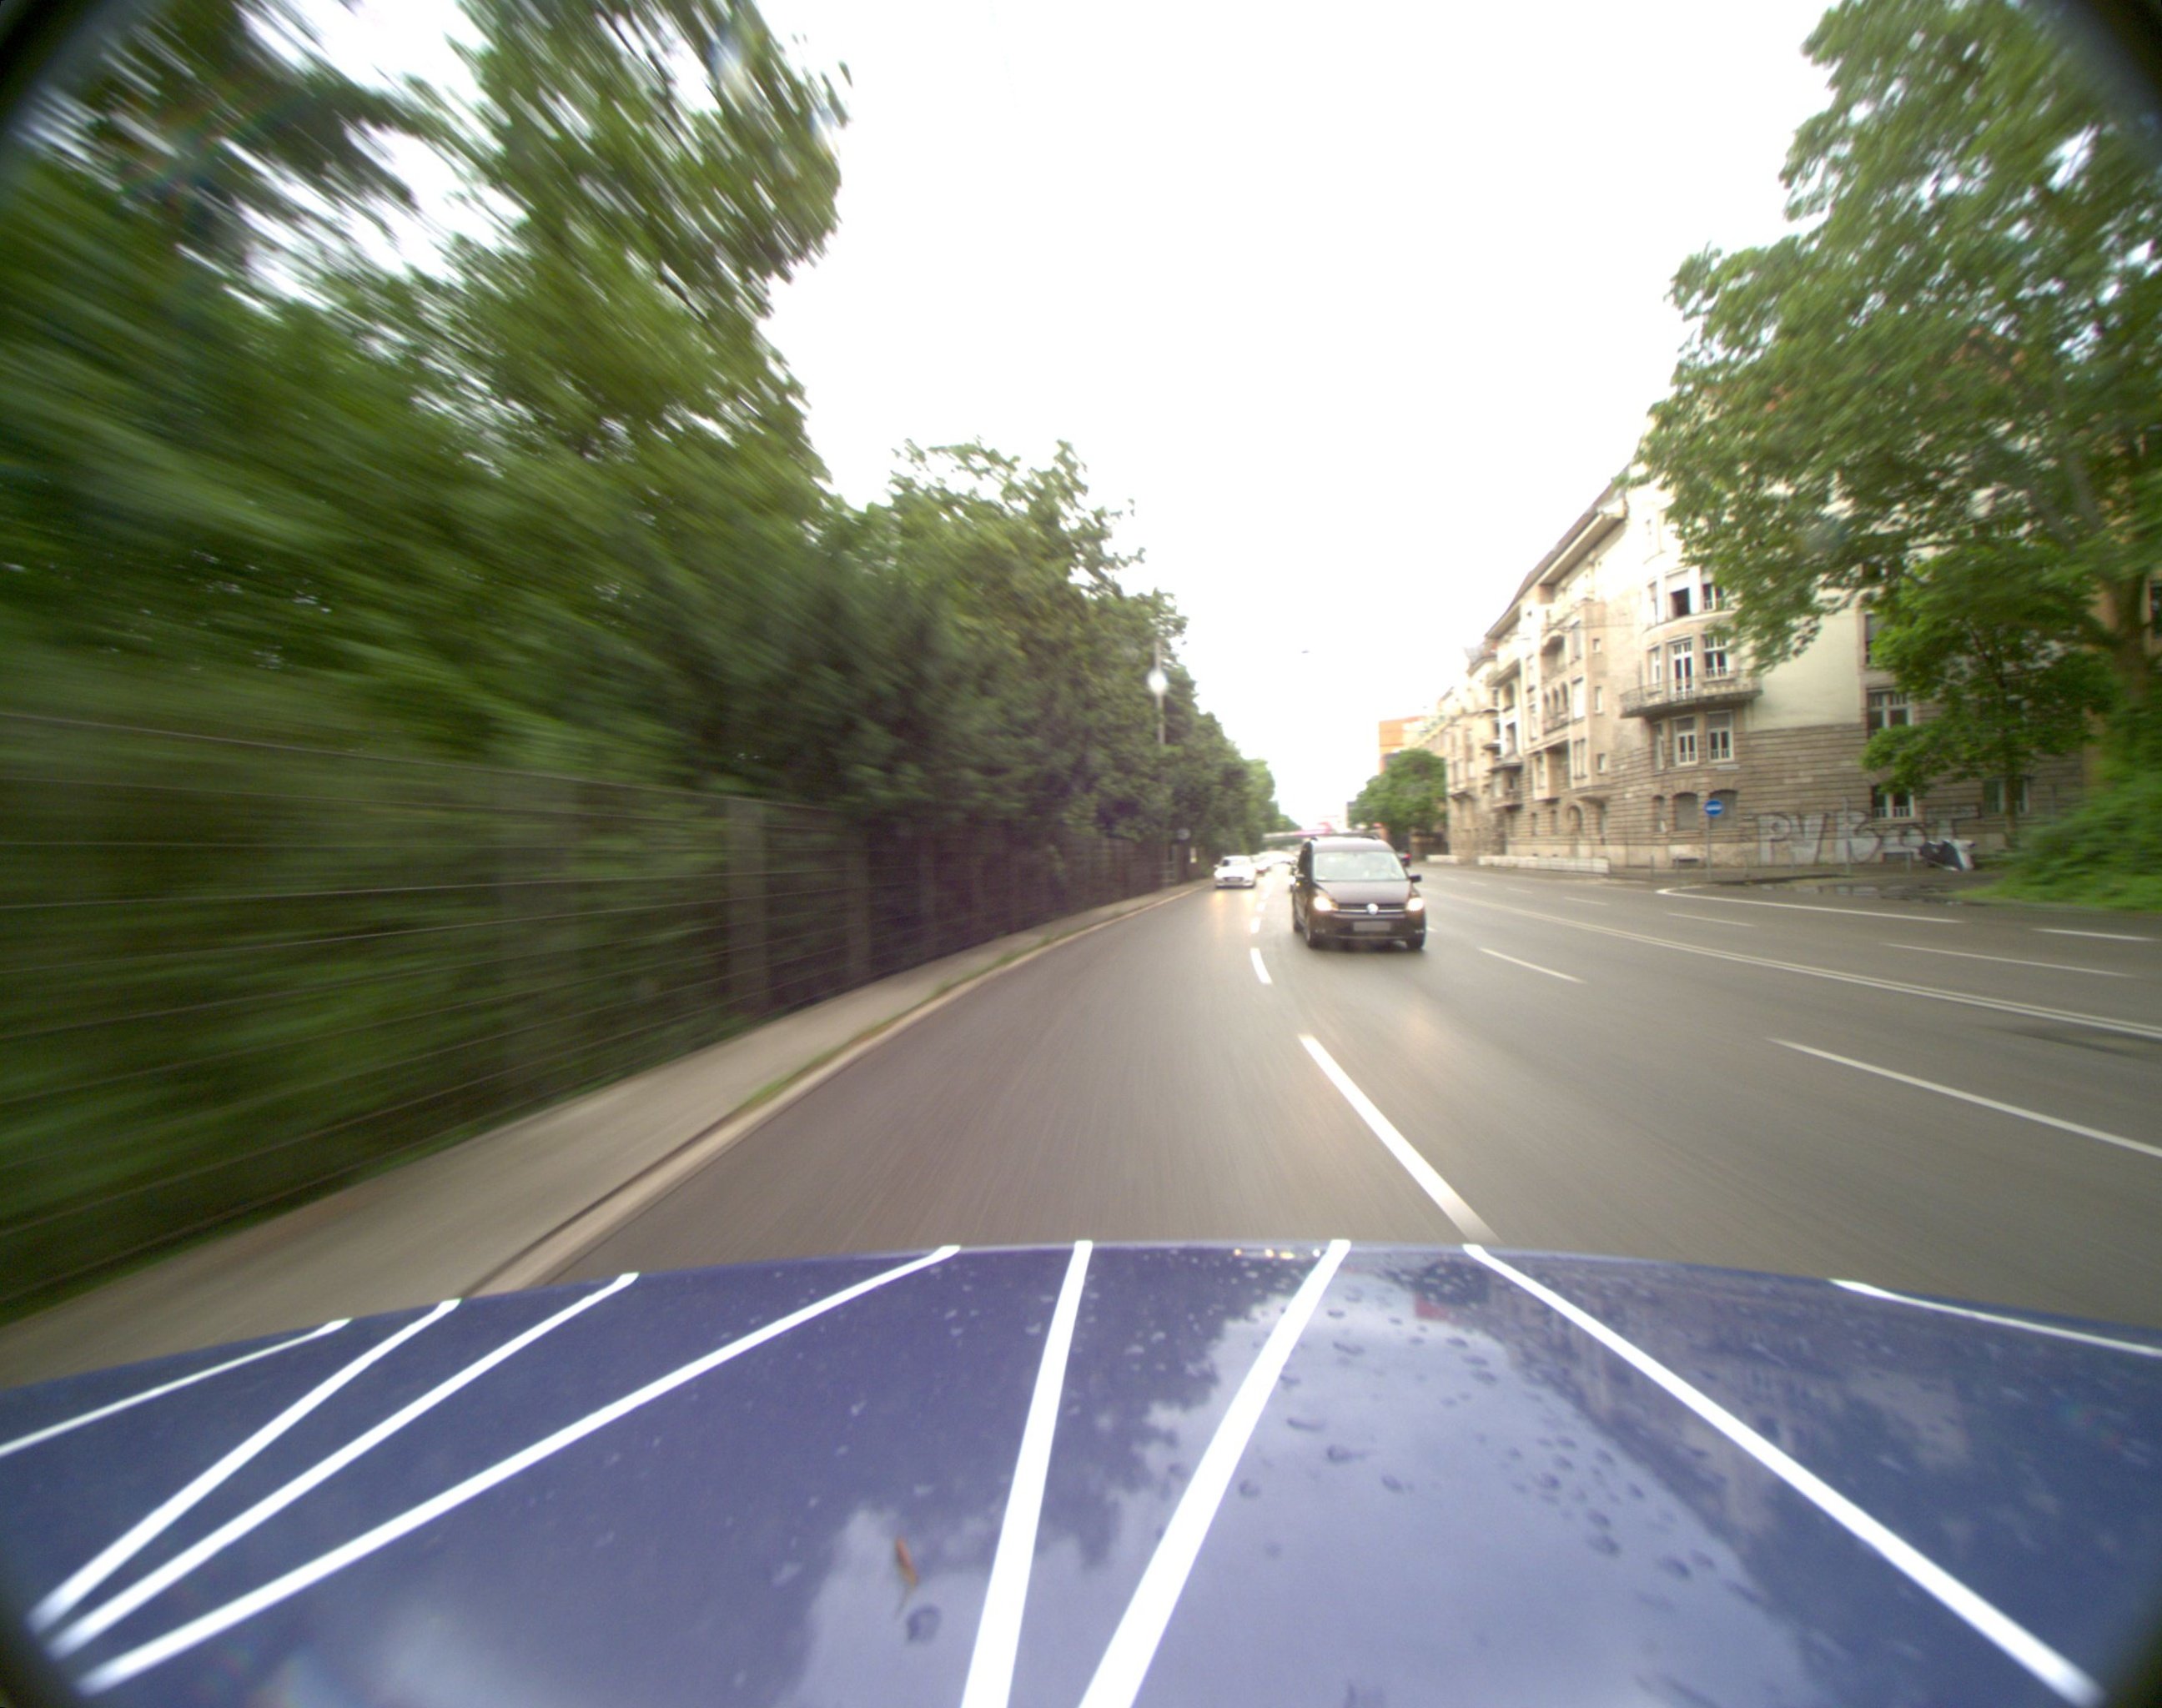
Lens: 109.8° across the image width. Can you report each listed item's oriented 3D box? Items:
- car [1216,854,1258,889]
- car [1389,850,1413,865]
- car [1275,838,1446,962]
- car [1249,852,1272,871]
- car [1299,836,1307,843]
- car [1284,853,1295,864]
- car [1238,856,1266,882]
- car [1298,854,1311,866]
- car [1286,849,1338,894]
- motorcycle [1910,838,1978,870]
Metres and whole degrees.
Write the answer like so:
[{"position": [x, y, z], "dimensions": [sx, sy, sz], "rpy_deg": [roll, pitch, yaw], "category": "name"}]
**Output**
[{"position": [7.384, 0.802, 35.812], "dimensions": [1.729, 1.430, 4.004], "rpy_deg": [-3, 0, 14], "category": "car"}, {"position": [29.101, 0.287, 69.166], "dimensions": [1.703, 1.331, 3.921], "rpy_deg": [-2, 0, 20], "category": "car"}, {"position": [4.577, 0.695, 13.073], "dimensions": [1.841, 1.780, 4.002], "rpy_deg": [-1, 0, 7], "category": "car"}, {"position": [17.180, 0.708, 72.570], "dimensions": [1.799, 1.586, 4.004], "rpy_deg": [-4, 0, 17], "category": "car"}, {"position": [53.681, -3.509, 183.720], "dimensions": [1.822, 1.602, 4.004], "rpy_deg": [-4, 0, 17], "category": "car"}, {"position": [37.681, 0.759, 137.492], "dimensions": [1.876, 1.761, 4.004], "rpy_deg": [-4, 0, 15], "category": "car"}, {"position": [12.501, 1.059, 55.349], "dimensions": [1.800, 1.586, 4.004], "rpy_deg": [-4, 0, 14], "category": "car"}, {"position": [36.930, 0.919, 125.596], "dimensions": [1.876, 1.761, 4.004], "rpy_deg": [-4, 0, 15], "category": "car"}, {"position": [9.314, 0.656, 30.918], "dimensions": [1.729, 1.604, 4.004], "rpy_deg": [-3, 0, 14], "category": "car"}, {"position": [32.470, -0.016, 28.648], "dimensions": [0.504, 1.134, 2.396], "rpy_deg": [-2, 0, 18], "category": "motorcycle"}]
